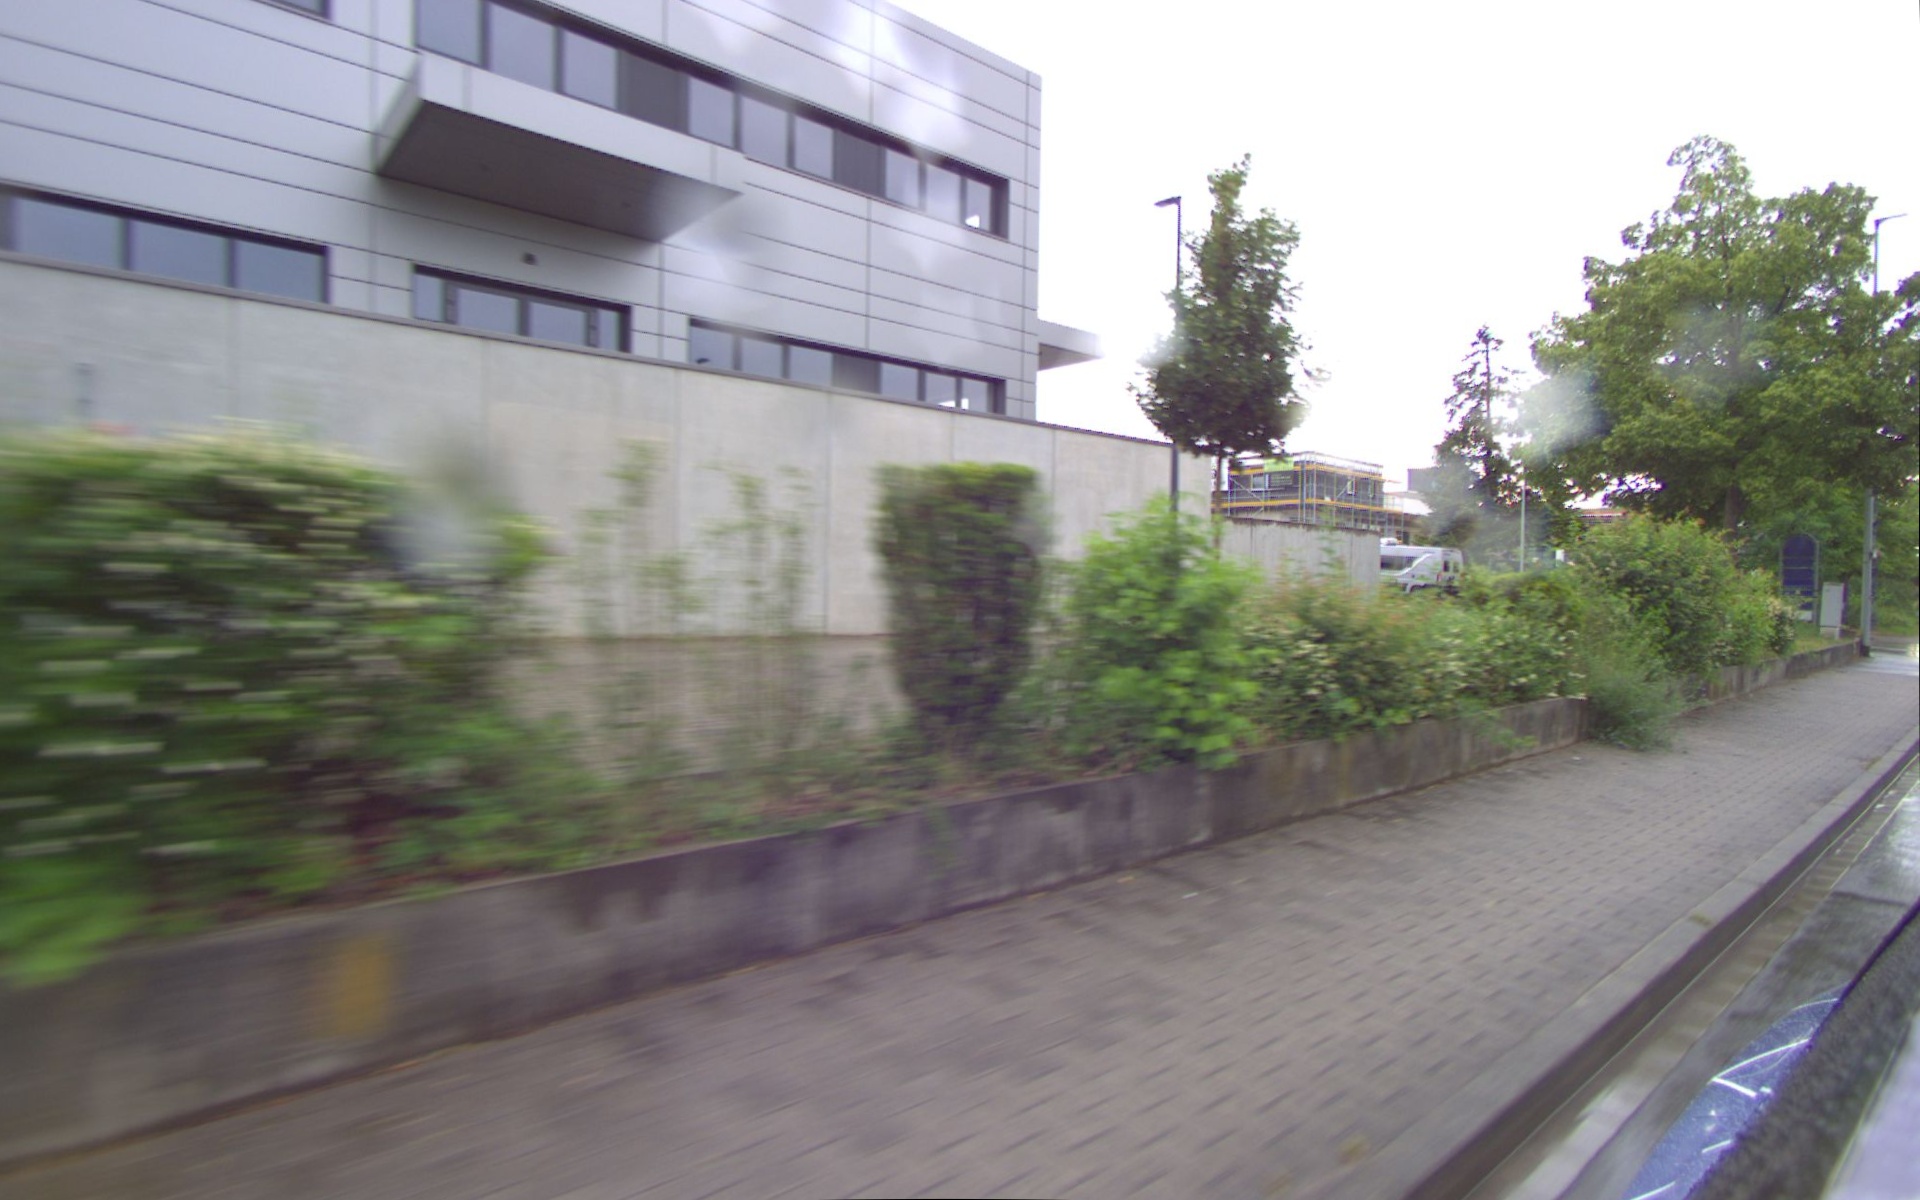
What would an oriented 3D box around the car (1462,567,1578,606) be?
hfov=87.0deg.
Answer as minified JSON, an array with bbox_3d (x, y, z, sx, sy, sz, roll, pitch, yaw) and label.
[{"bbox_3d":[23.570,-0.602,42.688,1.738,1.517,3.886,1,1,-42],"label":"car"}]

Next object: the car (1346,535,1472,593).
[{"bbox_3d":[20.431,-1.632,46.277,1.962,2.468,4.920,1,1,-35],"label":"car"}]
